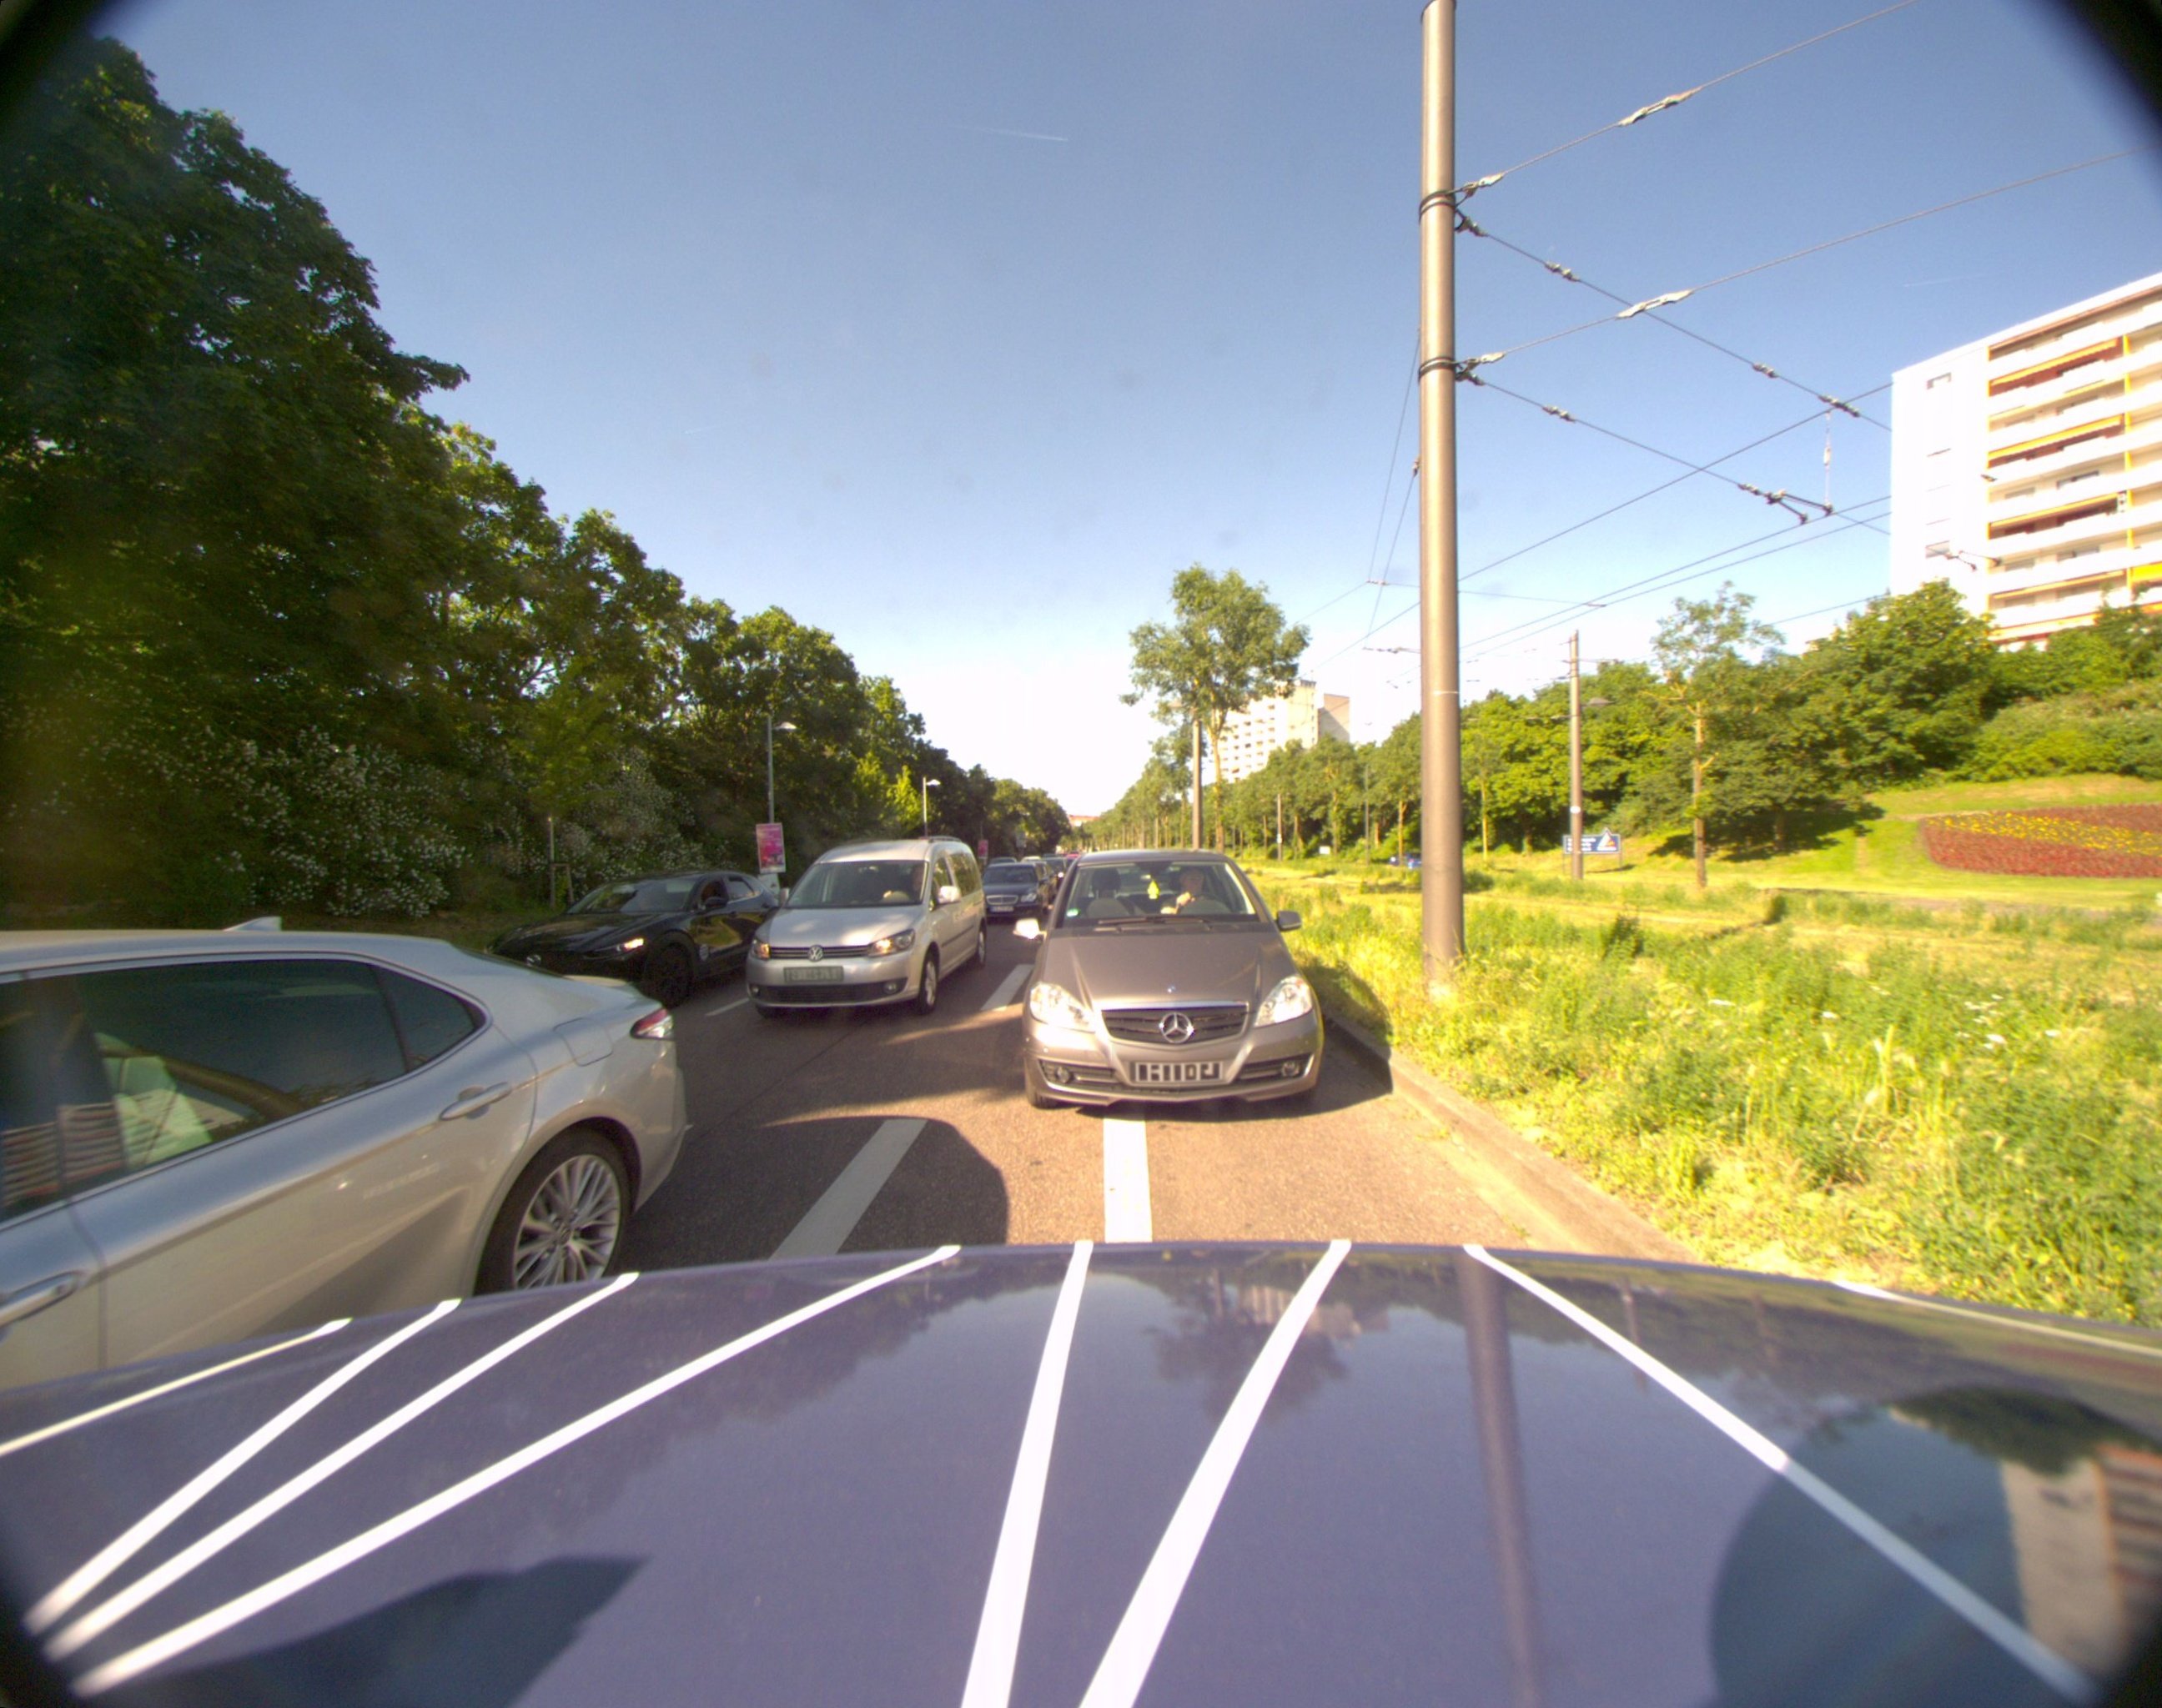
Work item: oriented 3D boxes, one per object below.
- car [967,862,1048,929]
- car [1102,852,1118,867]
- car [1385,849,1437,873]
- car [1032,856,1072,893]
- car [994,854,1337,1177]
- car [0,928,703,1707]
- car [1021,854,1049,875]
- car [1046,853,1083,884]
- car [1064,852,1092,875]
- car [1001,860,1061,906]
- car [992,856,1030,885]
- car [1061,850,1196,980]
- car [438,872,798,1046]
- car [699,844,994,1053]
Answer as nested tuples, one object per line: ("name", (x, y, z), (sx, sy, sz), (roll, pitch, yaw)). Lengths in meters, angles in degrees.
("car", (-1.752, 0.973, 19.325), (1.717, 1.445, 4.197), (-1, 0, -1))
("car", (3.329, 0.601, 87.418), (1.749, 1.652, 4.000), (-1, 0, 1))
("car", (20.278, 0.416, 46.885), (1.578, 1.412, 3.909), (-1, 0, 1))
("car", (-1.263, 0.877, 34.471), (1.621, 1.485, 3.452), (-2, 1, 0))
("car", (0.475, 0.858, 6.014), (1.749, 1.630, 4.000), (-2, 0, 1))
("car", (-2.676, 1.106, 1.028), (1.809, 1.484, 4.682), (-2, 0, 2))
("car", (-3.510, 0.794, 58.715), (1.749, 1.427, 4.386), (-2, 1, 2))
("car", (-0.808, 0.713, 39.849), (1.713, 1.430, 4.171), (-2, 0, 1))
("car", (-0.181, 0.632, 51.982), (1.685, 1.437, 3.727), (-2, 1, 2))
("car", (-1.647, 0.948, 26.382), (1.723, 1.411, 4.050), (-1, 0, 1))
("car", (-3.947, 0.903, 43.369), (1.713, 1.485, 3.963), (-2, 0, 1))
("car", (0.667, 0.807, 12.169), (1.749, 1.652, 3.999), (-2, 1, 1))
("car", (-5.306, 1.080, 9.529), (1.772, 1.499, 4.225), (-2, 1, 2))
("car", (-2.342, 0.818, 9.017), (1.808, 1.811, 4.587), (-2, 1, 3))
